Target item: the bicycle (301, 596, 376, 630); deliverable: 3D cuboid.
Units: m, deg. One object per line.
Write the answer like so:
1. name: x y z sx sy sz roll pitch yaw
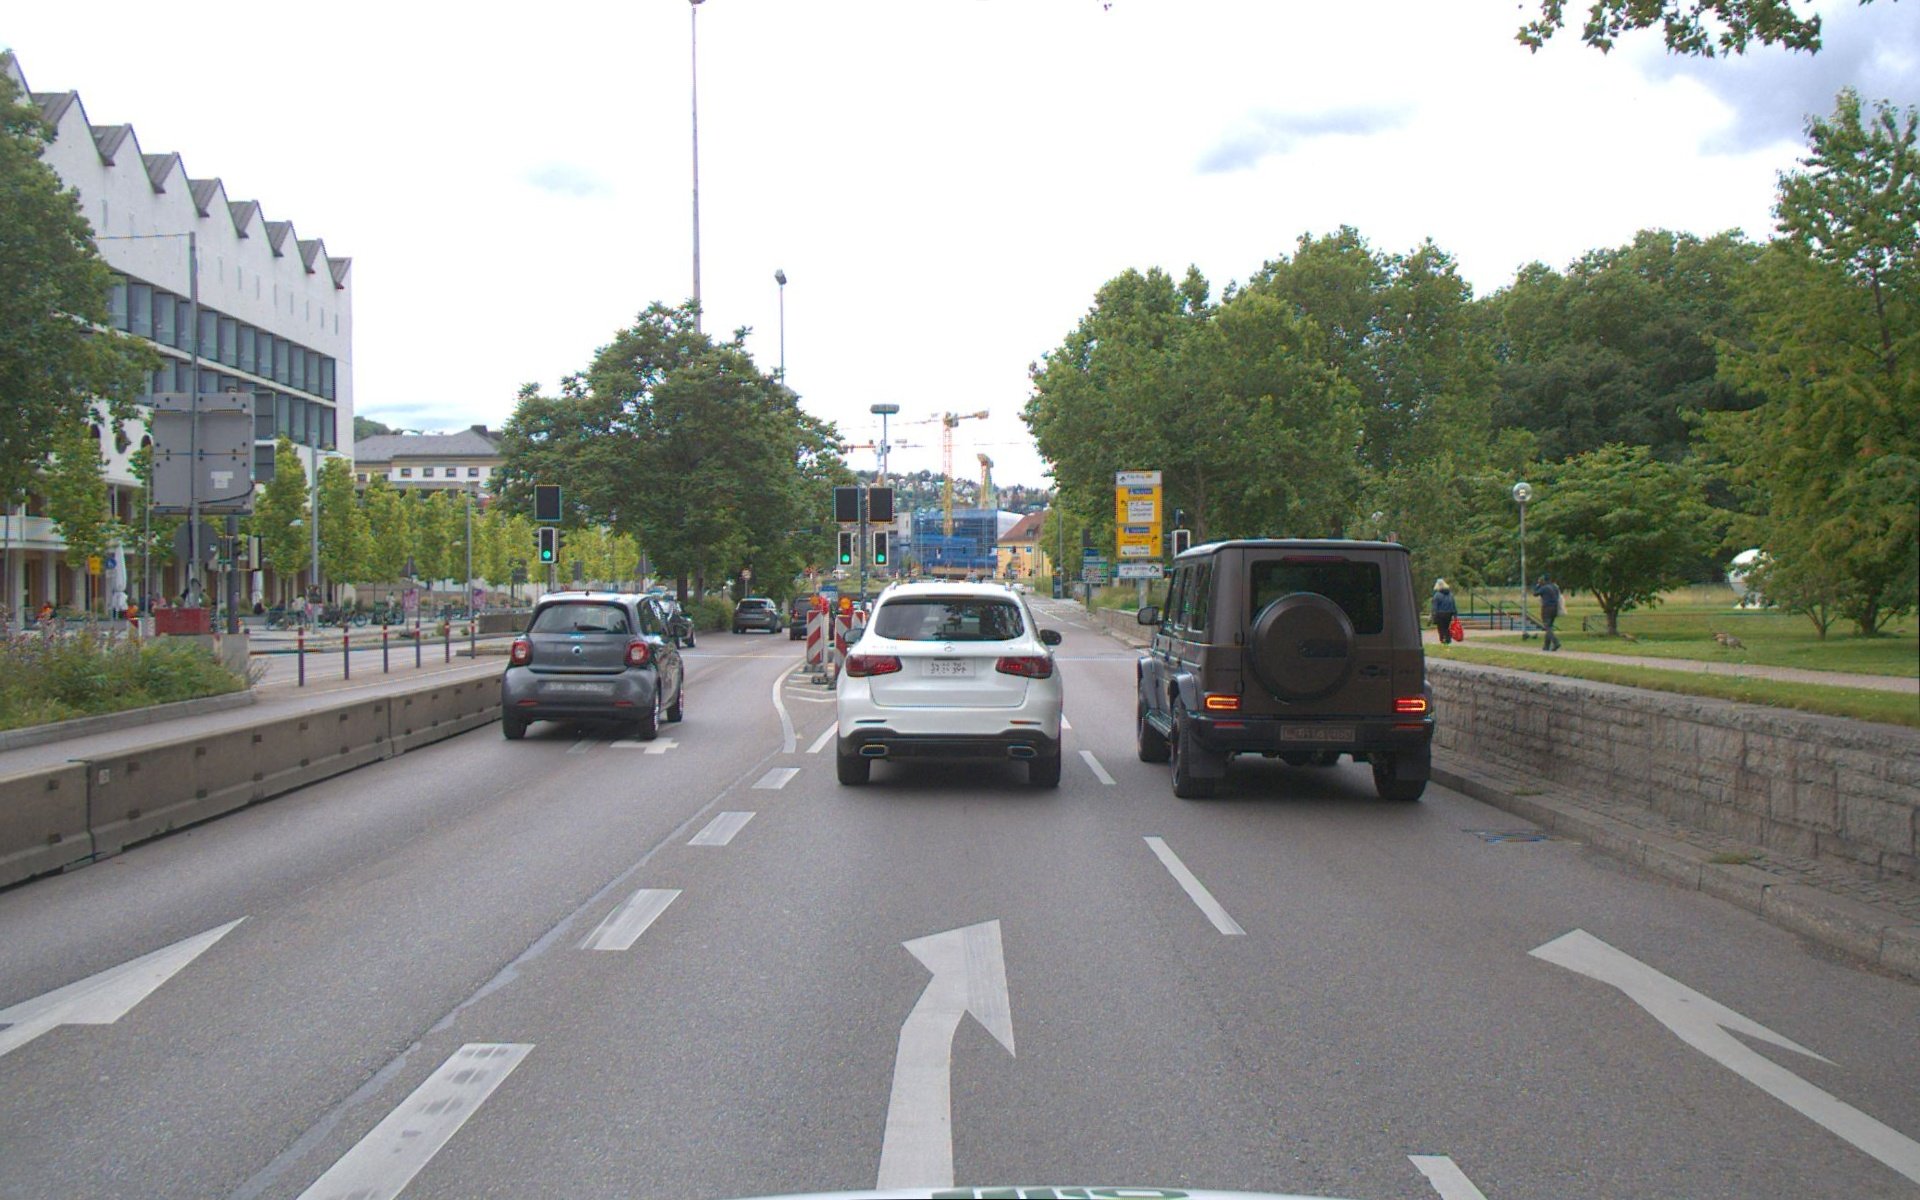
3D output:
1. bicycle: -33.126 0.670 88.224 3.549 1.713 1.179 -1 0 -12

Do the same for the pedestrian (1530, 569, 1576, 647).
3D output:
1. pedestrian: 12.814 0.169 35.756 0.785 1.654 0.626 -1 0 7

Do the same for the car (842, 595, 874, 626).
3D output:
1. car: -5.615 0.565 90.780 1.685 1.612 3.996 2 0 -5

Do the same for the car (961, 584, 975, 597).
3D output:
1. car: 1.084 -1.231 219.738 1.685 1.612 3.998 2 0 -3

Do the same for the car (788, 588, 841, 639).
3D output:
1. car: -5.207 0.455 59.543 1.685 1.708 3.998 2 0 -3

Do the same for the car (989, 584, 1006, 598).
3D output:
1. car: 4.484 -1.087 196.589 1.685 1.612 3.998 2 0 -3

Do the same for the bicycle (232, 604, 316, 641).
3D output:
1. bicycle: -33.319 1.067 80.363 3.540 1.713 1.182 -1 0 -2

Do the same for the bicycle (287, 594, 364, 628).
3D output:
1. bicycle: -33.002 0.574 86.031 3.549 1.713 1.179 -1 0 -12

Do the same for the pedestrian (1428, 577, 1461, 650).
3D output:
1. pedestrian: 10.718 0.298 36.595 0.668 1.589 0.909 -1 0 16

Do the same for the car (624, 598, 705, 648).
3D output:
1. car: -8.302 0.618 46.735 1.685 1.315 3.998 2 0 -3

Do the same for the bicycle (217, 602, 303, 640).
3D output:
1. bicycle: -32.968 0.965 77.942 3.540 1.713 1.182 -1 0 -2

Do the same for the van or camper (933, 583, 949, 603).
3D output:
1. van or camper: -2.411 -0.856 209.358 1.883 2.360 3.998 1 -2 -1

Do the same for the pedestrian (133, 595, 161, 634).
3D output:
1. pedestrian: -33.296 0.584 67.727 0.876 1.584 0.589 0 0 -44

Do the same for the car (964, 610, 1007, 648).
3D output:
1. car: 1.140 1.327 76.002 1.685 1.612 3.998 2 0 -3

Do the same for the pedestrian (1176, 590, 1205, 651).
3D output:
1. pedestrian: 6.524 0.581 46.854 0.683 1.685 0.683 2 -1 -1

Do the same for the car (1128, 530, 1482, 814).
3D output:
1. car: 2.662 0.530 13.952 1.937 1.926 4.706 2 -1 0

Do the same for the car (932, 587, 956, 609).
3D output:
1. car: -1.364 -0.143 141.827 1.952 1.787 4.000 2 -1 0

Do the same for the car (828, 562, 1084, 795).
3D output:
1. car: -0.080 0.624 14.591 1.901 1.713 3.998 2 -1 -2

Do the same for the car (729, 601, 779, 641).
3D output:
1. car: -8.724 0.871 70.241 1.718 1.580 3.998 2 0 -2

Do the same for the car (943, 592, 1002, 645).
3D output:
1. car: 0.369 0.580 53.778 1.685 1.612 3.998 2 0 -3

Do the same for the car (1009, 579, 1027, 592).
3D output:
1. car: 7.628 -1.928 217.942 1.955 1.646 3.995 2 -1 -5

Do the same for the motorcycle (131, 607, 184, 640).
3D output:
1. motorcycle: -31.697 0.936 65.352 1.860 1.255 0.653 -1 -2 -26

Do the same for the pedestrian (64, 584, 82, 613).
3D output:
1. pedestrian: -41.920 -0.055 78.155 0.508 1.350 0.565 -1 -2 -1

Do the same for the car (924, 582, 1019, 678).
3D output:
1. car: 0.202 0.570 31.564 1.638 1.656 3.999 2 -1 0

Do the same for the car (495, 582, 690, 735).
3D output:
1. car: -4.023 0.619 18.588 1.595 1.535 3.537 1 -1 -4
